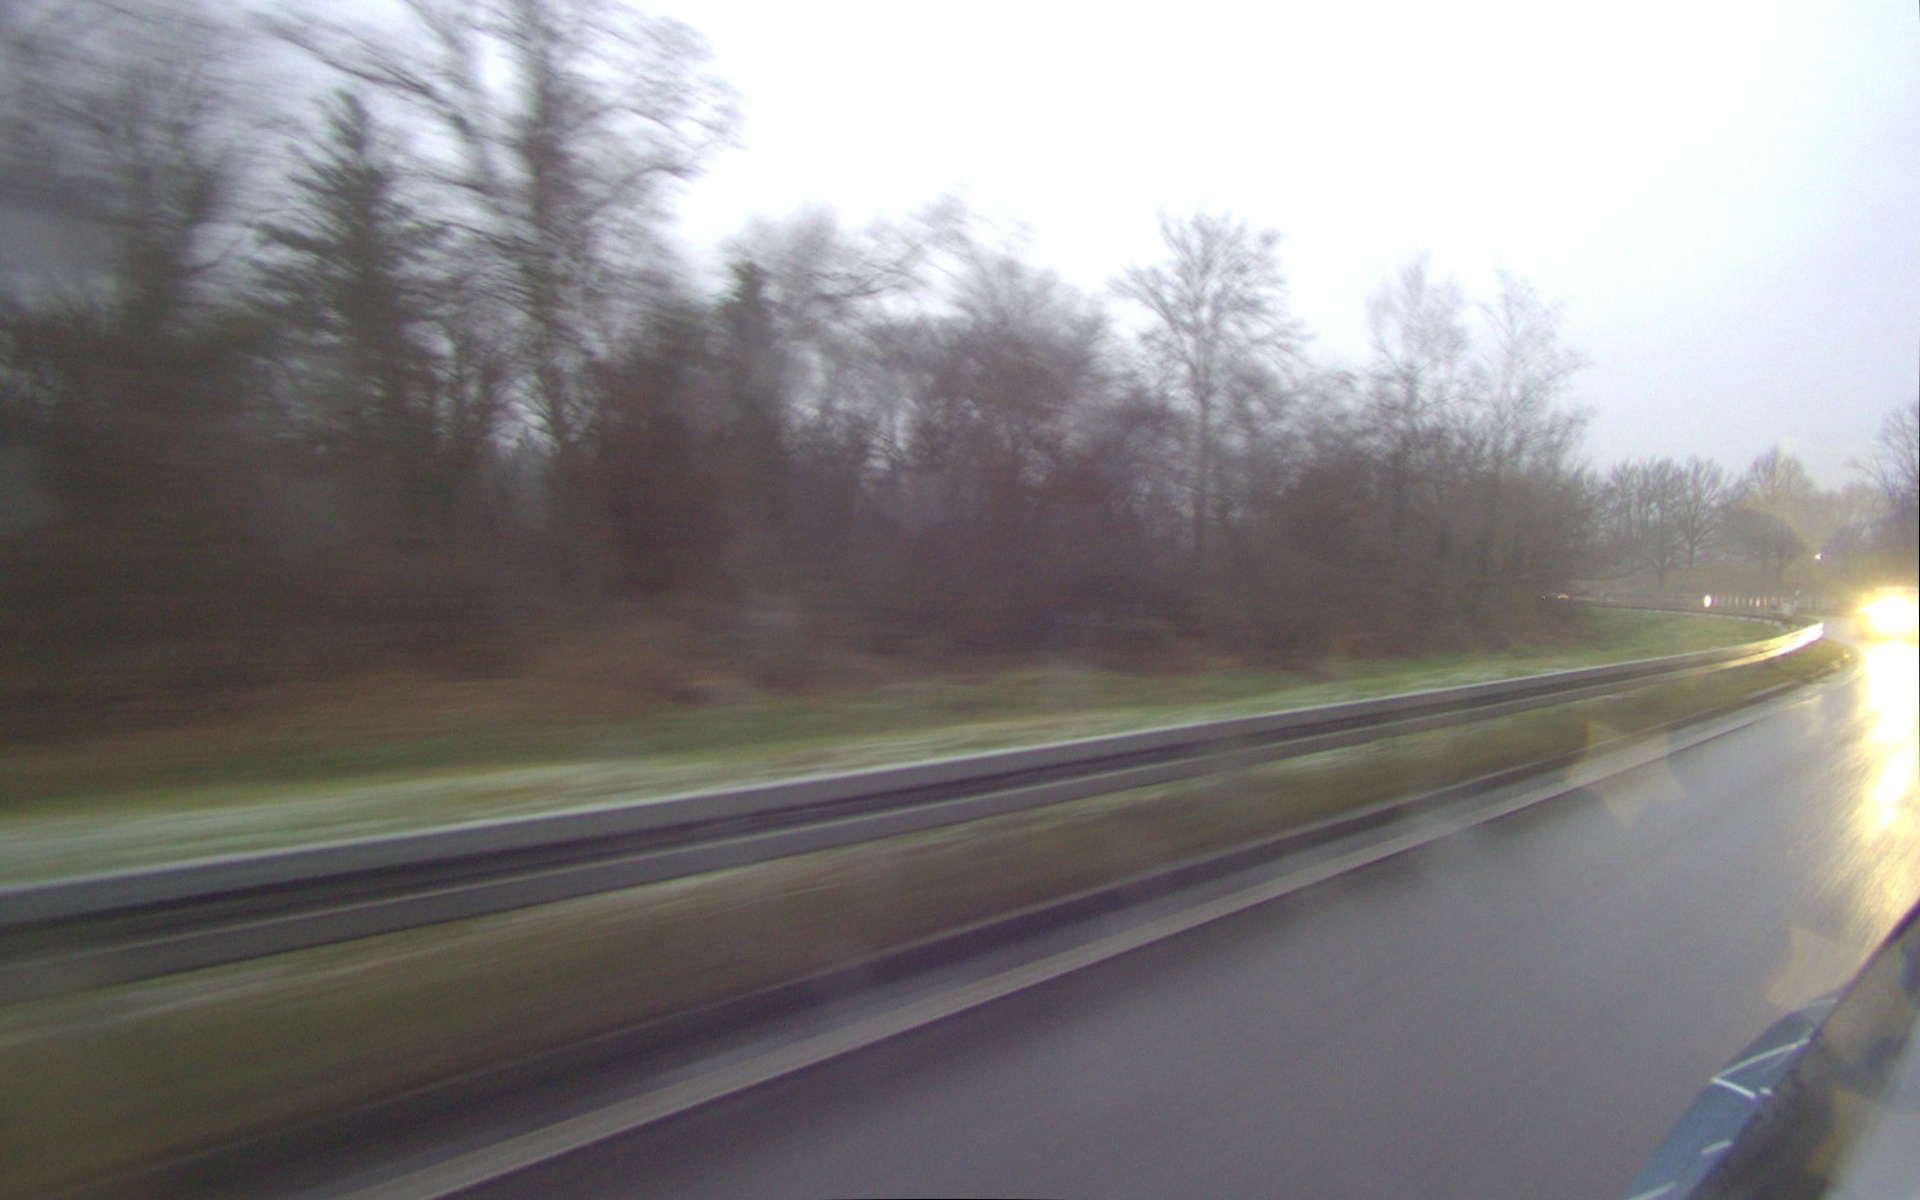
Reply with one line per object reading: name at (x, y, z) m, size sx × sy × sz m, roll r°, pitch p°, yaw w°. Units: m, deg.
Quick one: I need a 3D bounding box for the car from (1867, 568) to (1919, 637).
car at (30.169, 0.137, 31.754) m, size 1.987 × 2.039 × 3.913 m, roll 3°, pitch 0°, yaw 35°
